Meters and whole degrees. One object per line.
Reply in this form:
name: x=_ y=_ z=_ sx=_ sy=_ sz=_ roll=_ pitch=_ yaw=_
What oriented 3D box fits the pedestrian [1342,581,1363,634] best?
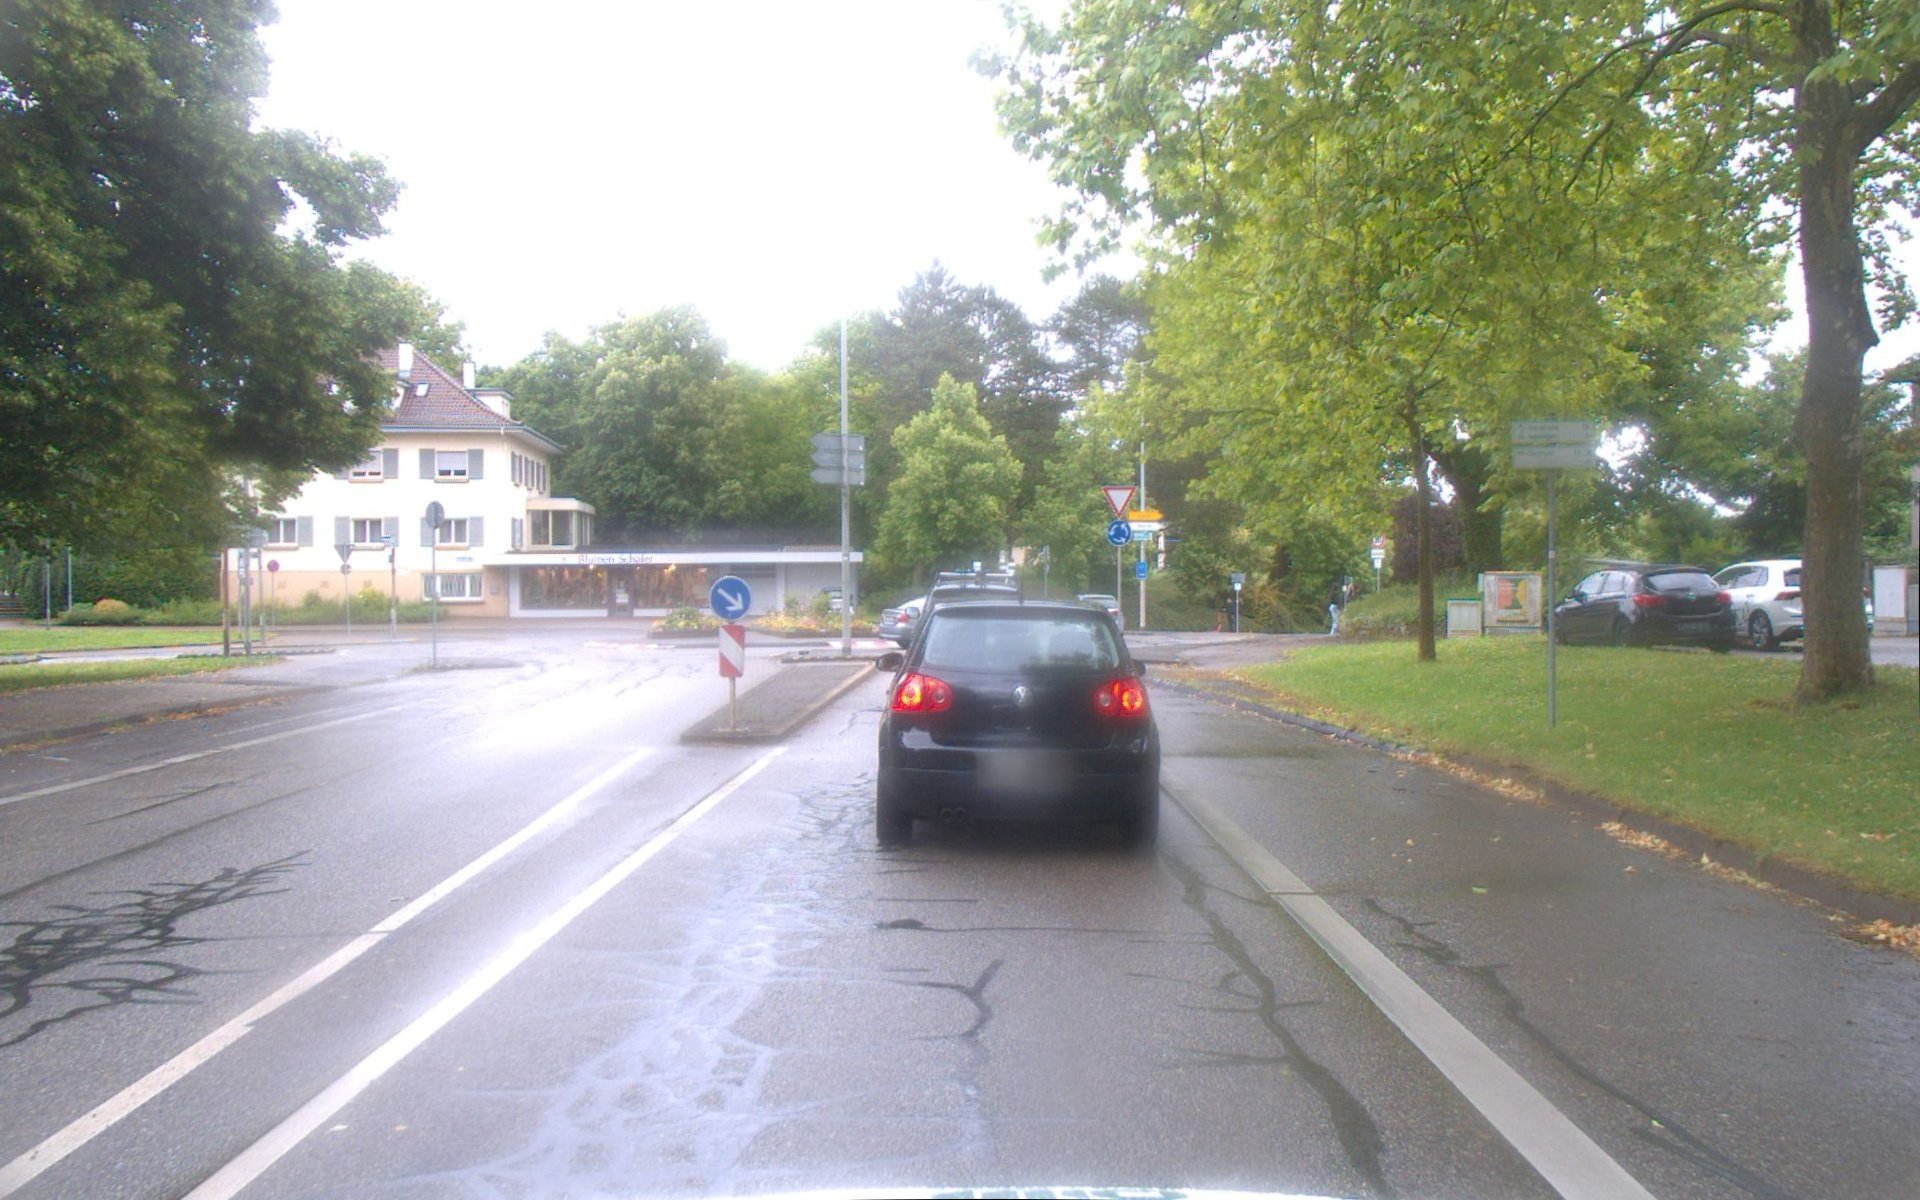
pedestrian: x=13.030 y=0.253 z=54.880 sx=0.620 sy=1.743 sz=0.530 roll=1 pitch=-1 yaw=15

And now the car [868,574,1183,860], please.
car: x=0.397 y=0.639 z=11.221 sx=1.728 sy=1.565 sz=4.001 roll=1 pitch=0 yaw=1

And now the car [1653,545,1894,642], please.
car: x=13.943 y=-0.094 z=28.673 sx=1.808 sy=1.497 sz=4.423 roll=-2 pitch=0 yaw=-3

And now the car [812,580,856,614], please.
car: x=-5.850 y=-0.150 z=76.358 sx=1.778 sy=1.512 sz=3.825 roll=-1 pitch=1 yaw=-8

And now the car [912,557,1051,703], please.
car: x=0.215 y=0.387 z=23.383 sx=1.729 sy=1.833 sz=4.244 roll=-1 pitch=0 yaw=-2

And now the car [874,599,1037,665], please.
car: x=-0.126 y=0.861 z=44.853 sx=3.966 sy=1.713 sz=1.985 roll=1 pitch=0 yaw=-24

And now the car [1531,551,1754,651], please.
car: x=11.544 y=0.028 z=28.344 sx=1.729 sy=1.497 sz=4.596 roll=-2 pitch=0 yaw=-2

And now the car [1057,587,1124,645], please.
car: x=4.156 y=0.501 z=53.093 sx=1.952 sy=1.772 sz=4.144 roll=1 pitch=0 yaw=2

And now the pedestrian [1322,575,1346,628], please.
pedestrian: x=12.312 y=0.052 z=54.392 sx=0.519 sy=1.743 sz=0.633 roll=1 pitch=-1 yaw=-15
